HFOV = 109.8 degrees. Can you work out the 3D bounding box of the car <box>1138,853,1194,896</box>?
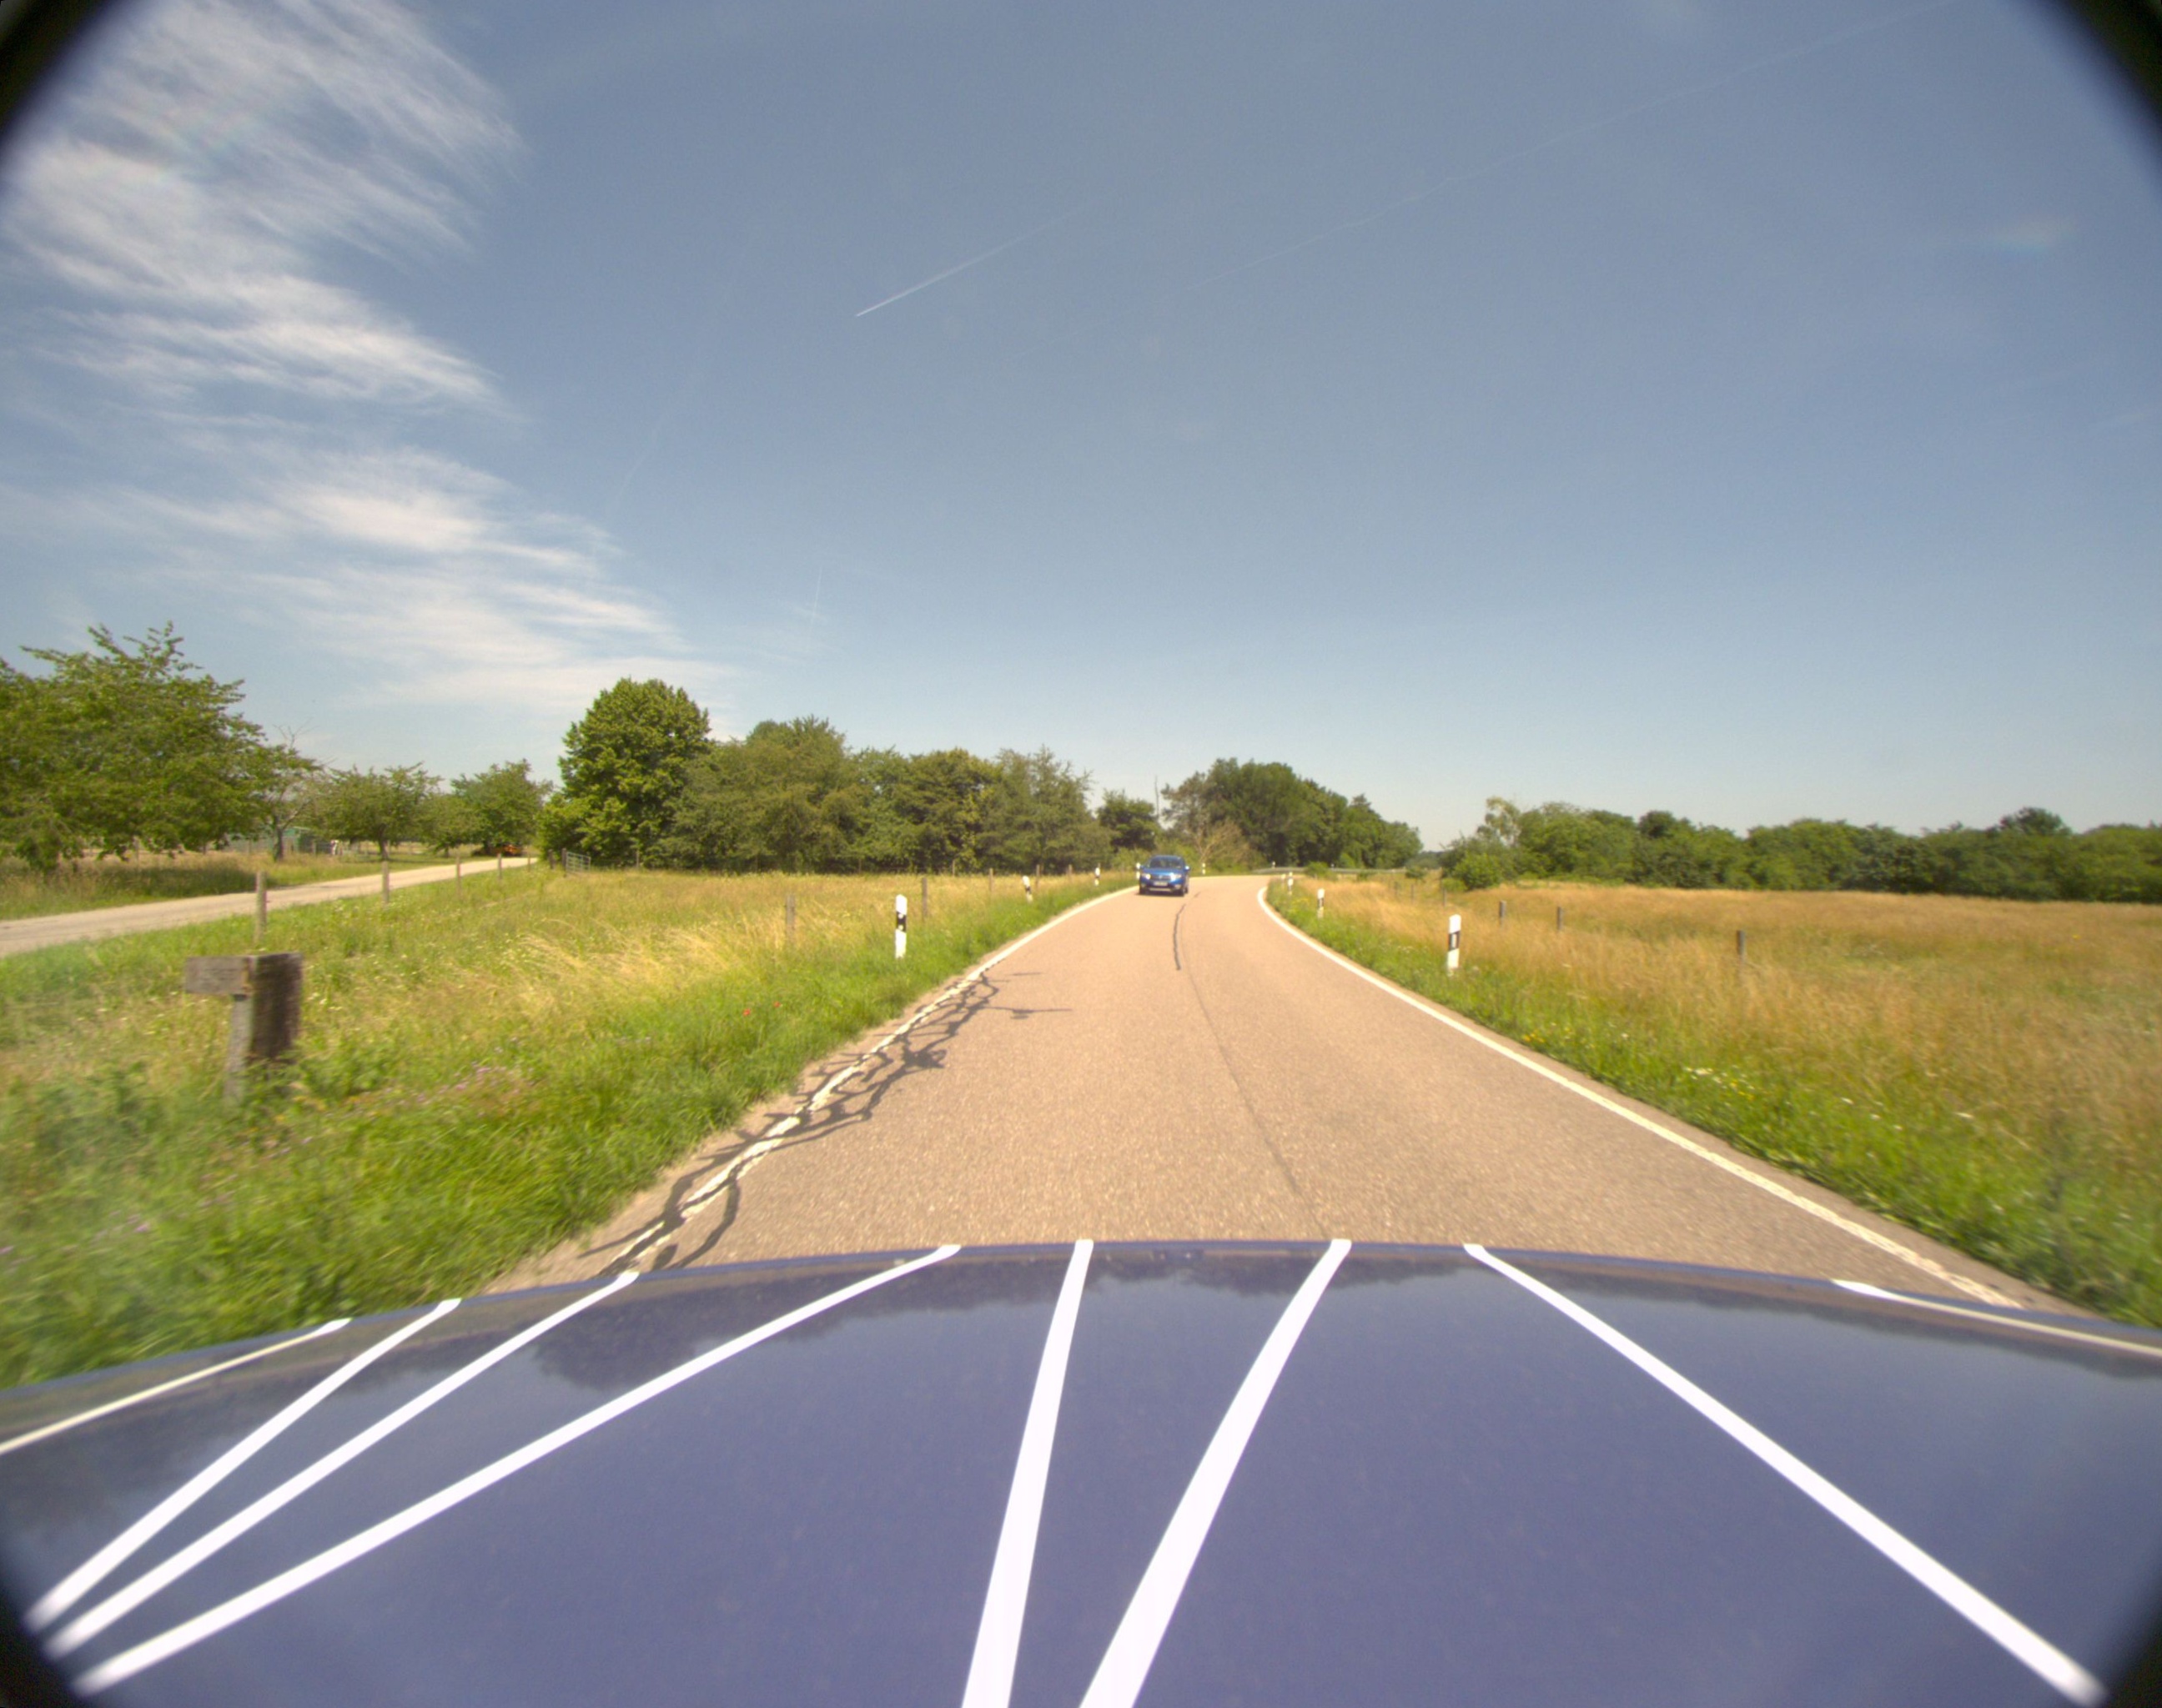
[{"bbox_3d":[3.467,0.757,30.462,1.732,1.572,4.004,2,1,13],"label":"car"}]
